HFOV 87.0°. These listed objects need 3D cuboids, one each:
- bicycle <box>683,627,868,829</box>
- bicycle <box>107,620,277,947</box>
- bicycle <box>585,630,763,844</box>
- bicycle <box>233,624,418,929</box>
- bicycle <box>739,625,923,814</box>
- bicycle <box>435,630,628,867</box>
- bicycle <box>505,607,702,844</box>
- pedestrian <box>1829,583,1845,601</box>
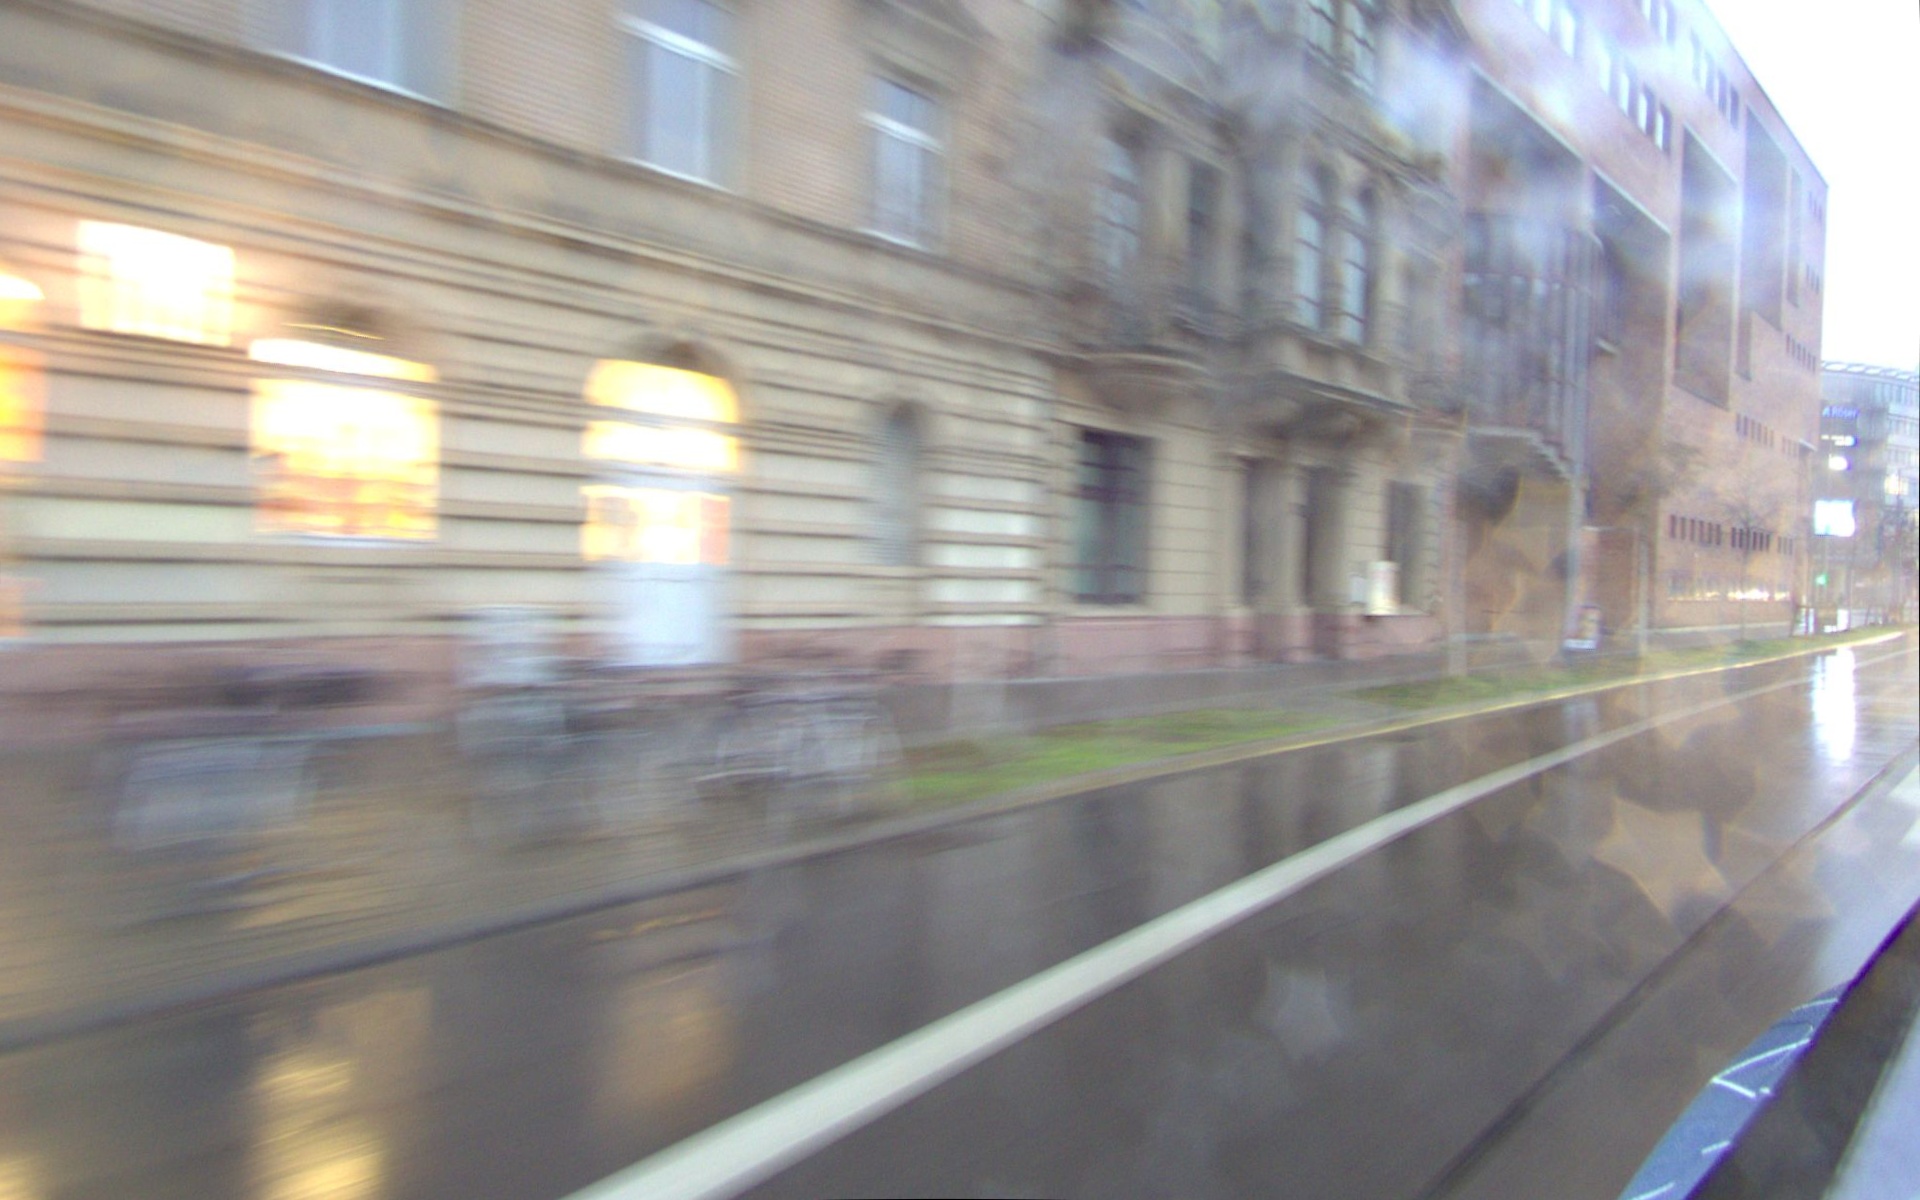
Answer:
[{"bbox_3d":[-1.298,0.789,6.839,0.365,1.068,1.733,0,3,-41],"label":"bicycle"},{"bbox_3d":[-3.674,0.712,4.766,0.476,1.068,2.148,0,3,-41],"label":"bicycle"},{"bbox_3d":[-1.880,0.797,6.487,0.365,1.068,1.733,0,3,-41],"label":"bicycle"},{"bbox_3d":[-3.286,0.756,5.142,0.418,1.067,2.148,2,3,-42],"label":"bicycle"},{"bbox_3d":[-0.968,0.783,7.211,0.365,1.068,1.733,0,3,-41],"label":"bicycle"},{"bbox_3d":[-2.602,0.779,6.005,0.418,0.982,2.012,0,5,-41],"label":"bicycle"},{"bbox_3d":[-2.304,0.691,6.368,0.418,1.108,2.012,0,5,-41],"label":"bicycle"},{"bbox_3d":[90.636,-0.807,104.604,1.147,1.809,0.766,2,2,40],"label":"pedestrian"}]
